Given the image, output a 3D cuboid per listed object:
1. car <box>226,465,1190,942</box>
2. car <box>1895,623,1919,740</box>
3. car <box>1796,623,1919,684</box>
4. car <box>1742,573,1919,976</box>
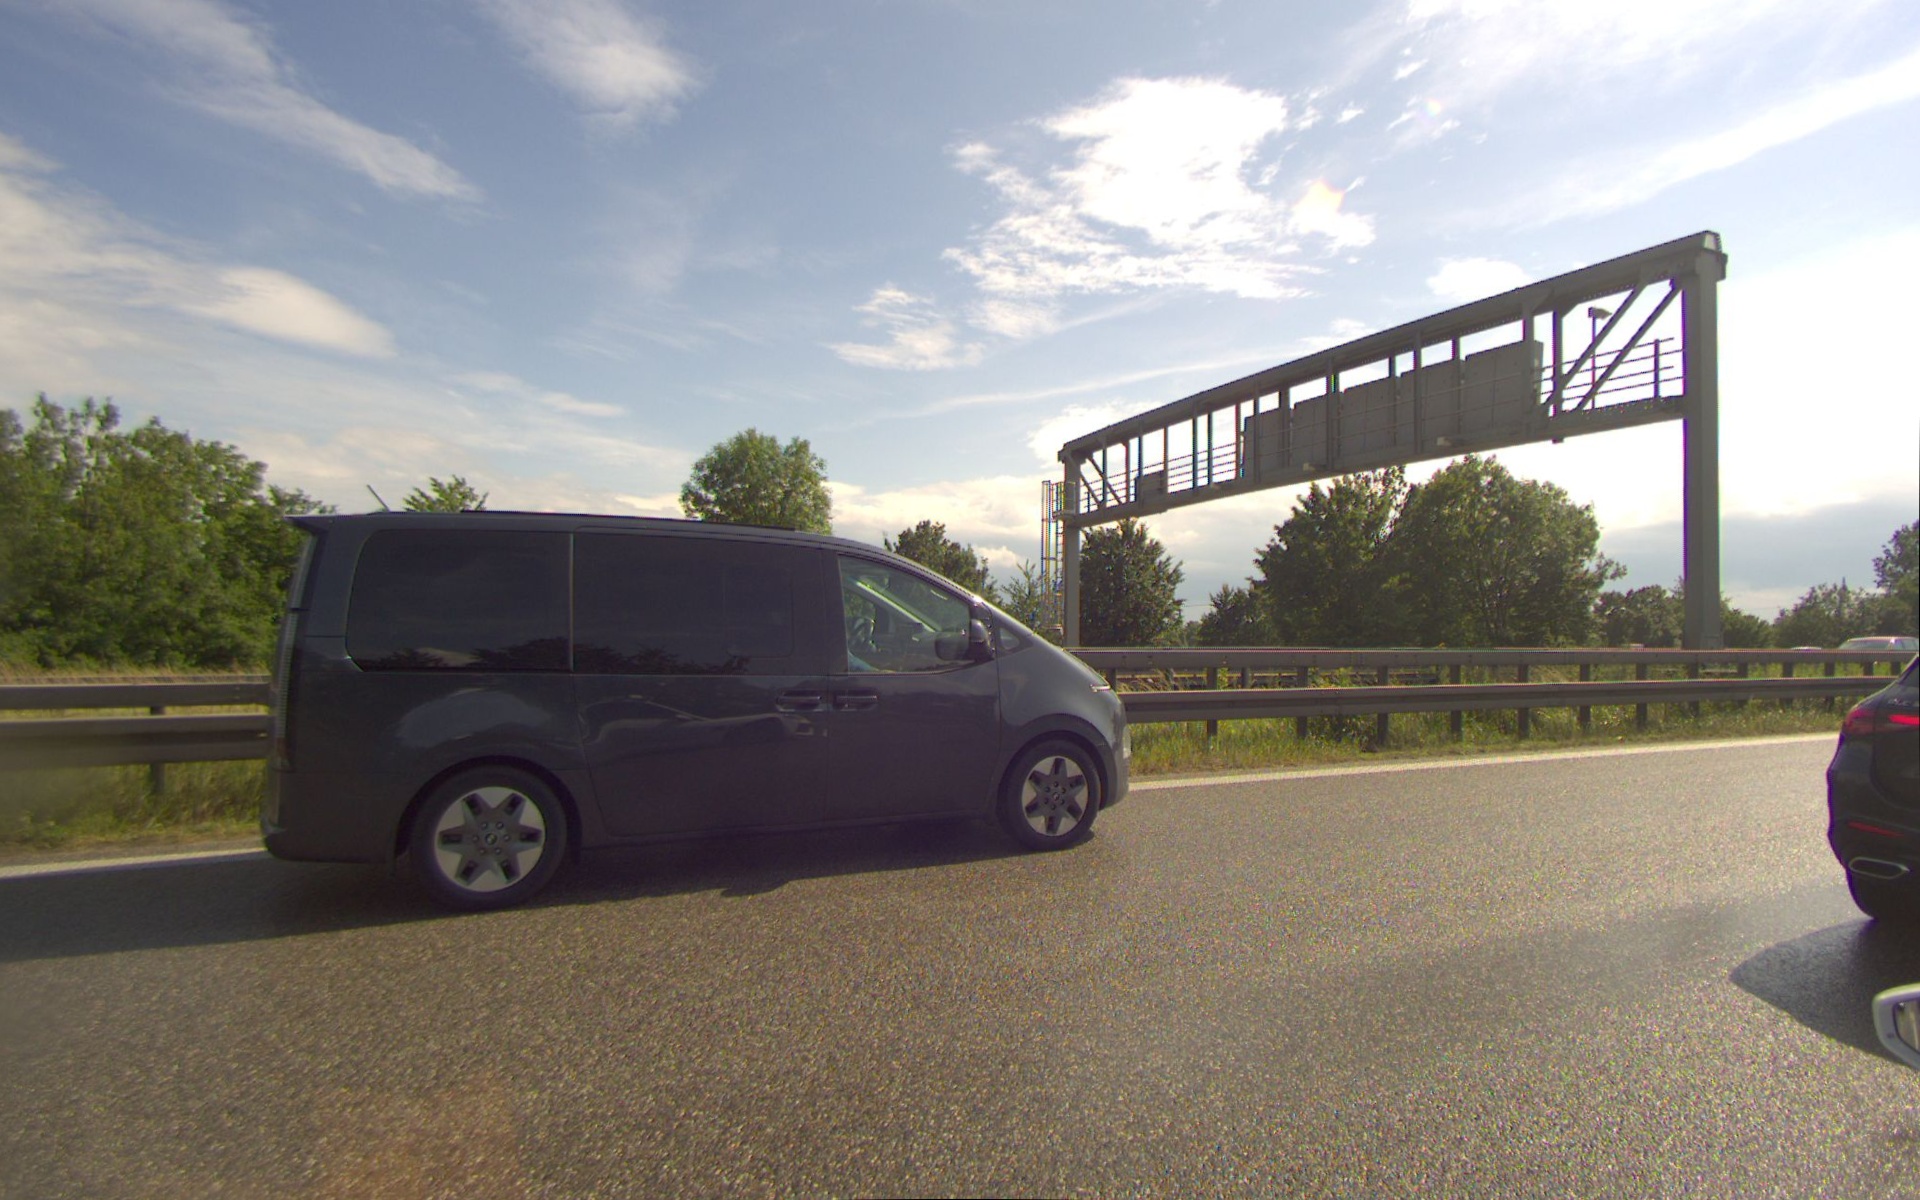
[{"bbox_3d":[-1.235,0.504,6.369,5.201,2.040,1.987,1,-1,-27],"label":"car"},{"bbox_3d":[14.775,1.116,13.573,4.152,1.537,1.751,1,-1,-26],"label":"car"},{"bbox_3d":[32.018,1.864,35.666,4.593,2.040,1.986,1,-1,-27],"label":"car"},{"bbox_3d":[6.123,0.783,4.857,4.347,1.683,1.987,2,-1,-26],"label":"car"}]
